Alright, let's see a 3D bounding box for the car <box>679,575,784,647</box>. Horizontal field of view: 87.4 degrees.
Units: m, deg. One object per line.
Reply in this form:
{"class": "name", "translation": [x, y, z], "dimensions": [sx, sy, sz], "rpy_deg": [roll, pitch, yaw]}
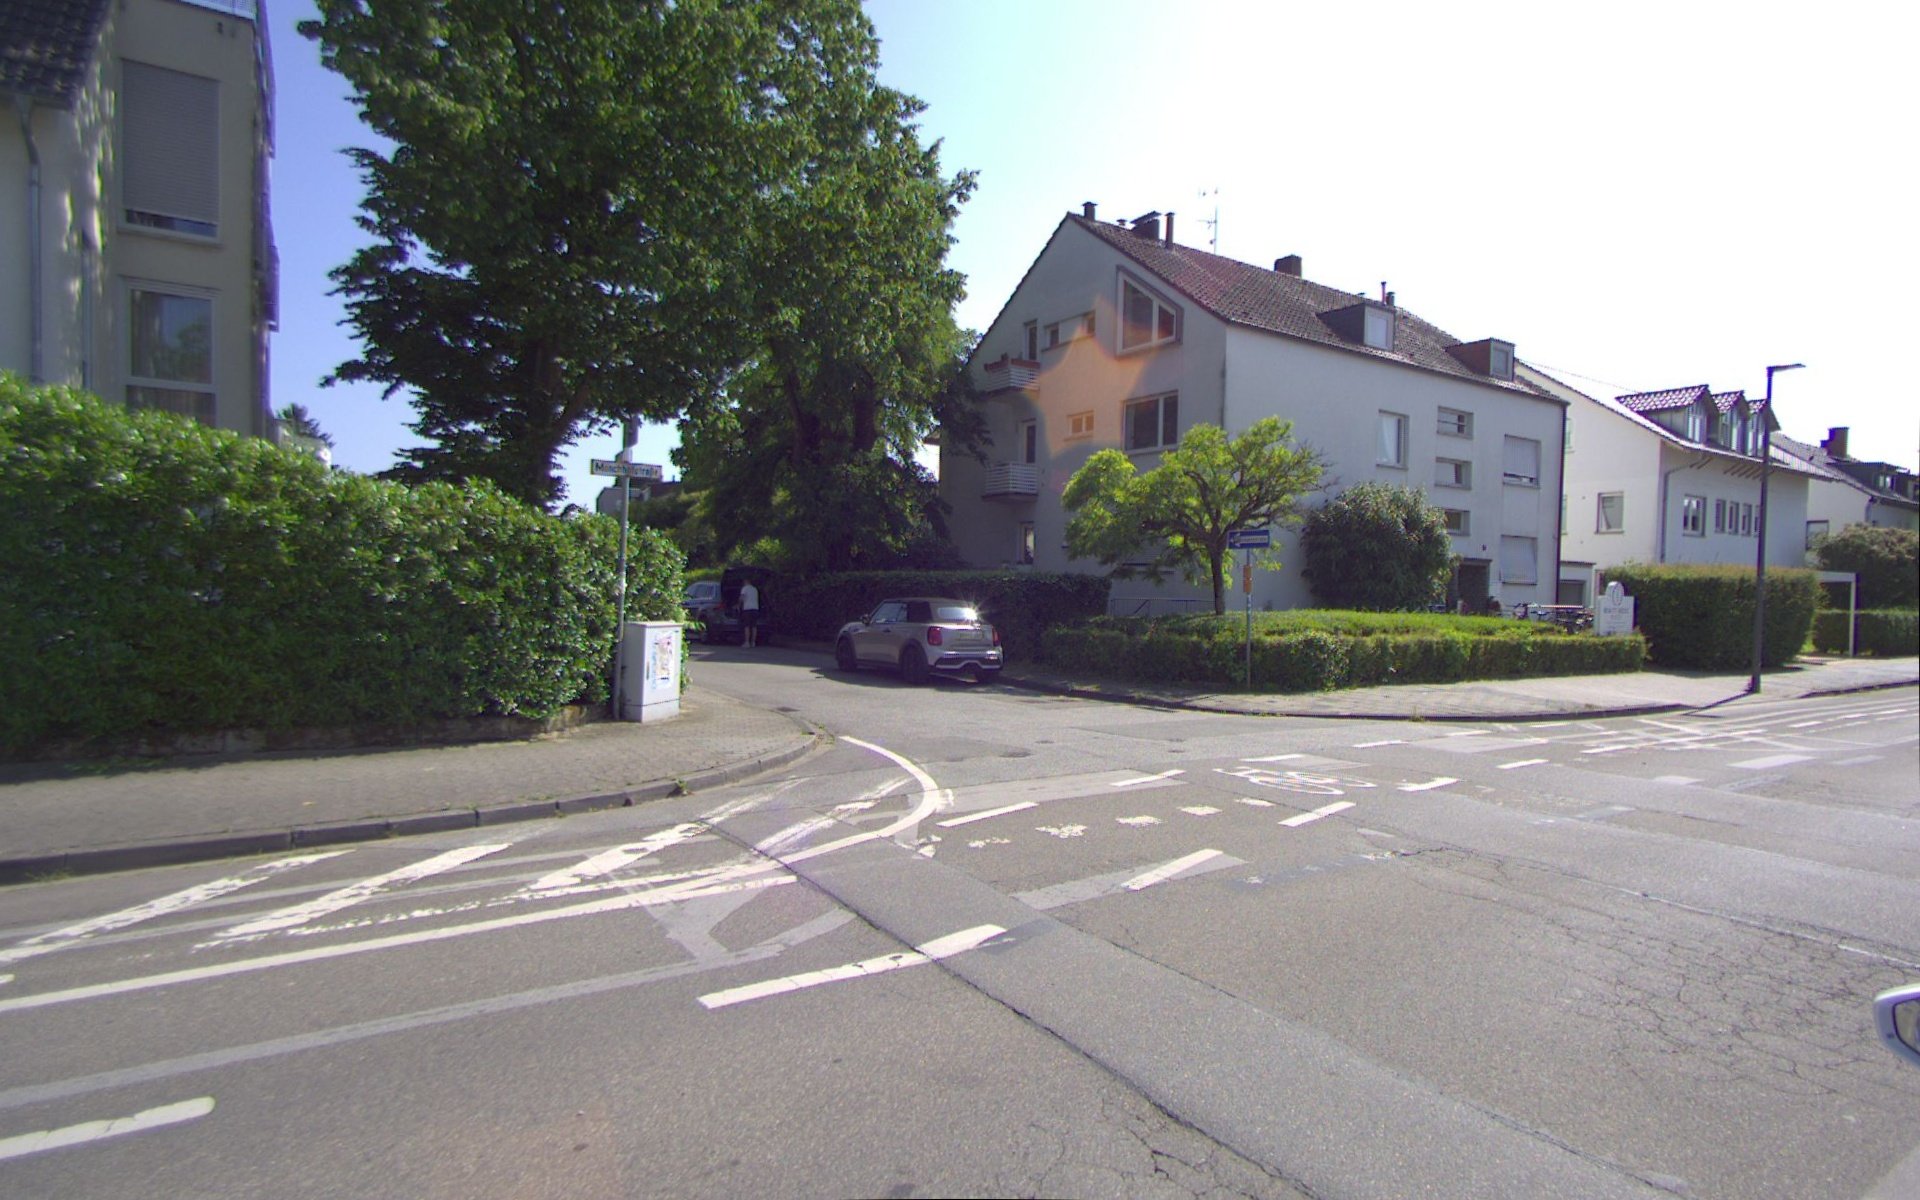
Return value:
{"class": "car", "translation": [-6.198, 0.261, 27.025], "dimensions": [1.627, 1.768, 3.471], "rpy_deg": [1, 1, -33]}

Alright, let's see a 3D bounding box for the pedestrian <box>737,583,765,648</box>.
{"class": "pedestrian", "translation": [-5.358, 0.394, 25.701], "dimensions": [0.562, 1.629, 0.396], "rpy_deg": [1, 1, -33]}

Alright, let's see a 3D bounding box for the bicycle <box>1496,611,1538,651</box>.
{"class": "bicycle", "translation": [13.316, 0.737, 23.993], "dimensions": [1.358, 0.885, 0.330], "rpy_deg": [1, 5, -39]}

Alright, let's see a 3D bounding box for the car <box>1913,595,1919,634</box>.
{"class": "car", "translation": [45.989, 0.730, 45.298], "dimensions": [1.978, 1.783, 3.964], "rpy_deg": [0, 2, -32]}

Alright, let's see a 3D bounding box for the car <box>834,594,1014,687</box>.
{"class": "car", "translation": [-0.740, 0.657, 18.092], "dimensions": [1.708, 1.431, 3.471], "rpy_deg": [1, 1, -33]}

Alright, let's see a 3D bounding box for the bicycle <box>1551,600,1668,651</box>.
{"class": "bicycle", "translation": [16.452, 0.632, 25.520], "dimensions": [2.393, 1.122, 0.536], "rpy_deg": [2, 7, 27]}
